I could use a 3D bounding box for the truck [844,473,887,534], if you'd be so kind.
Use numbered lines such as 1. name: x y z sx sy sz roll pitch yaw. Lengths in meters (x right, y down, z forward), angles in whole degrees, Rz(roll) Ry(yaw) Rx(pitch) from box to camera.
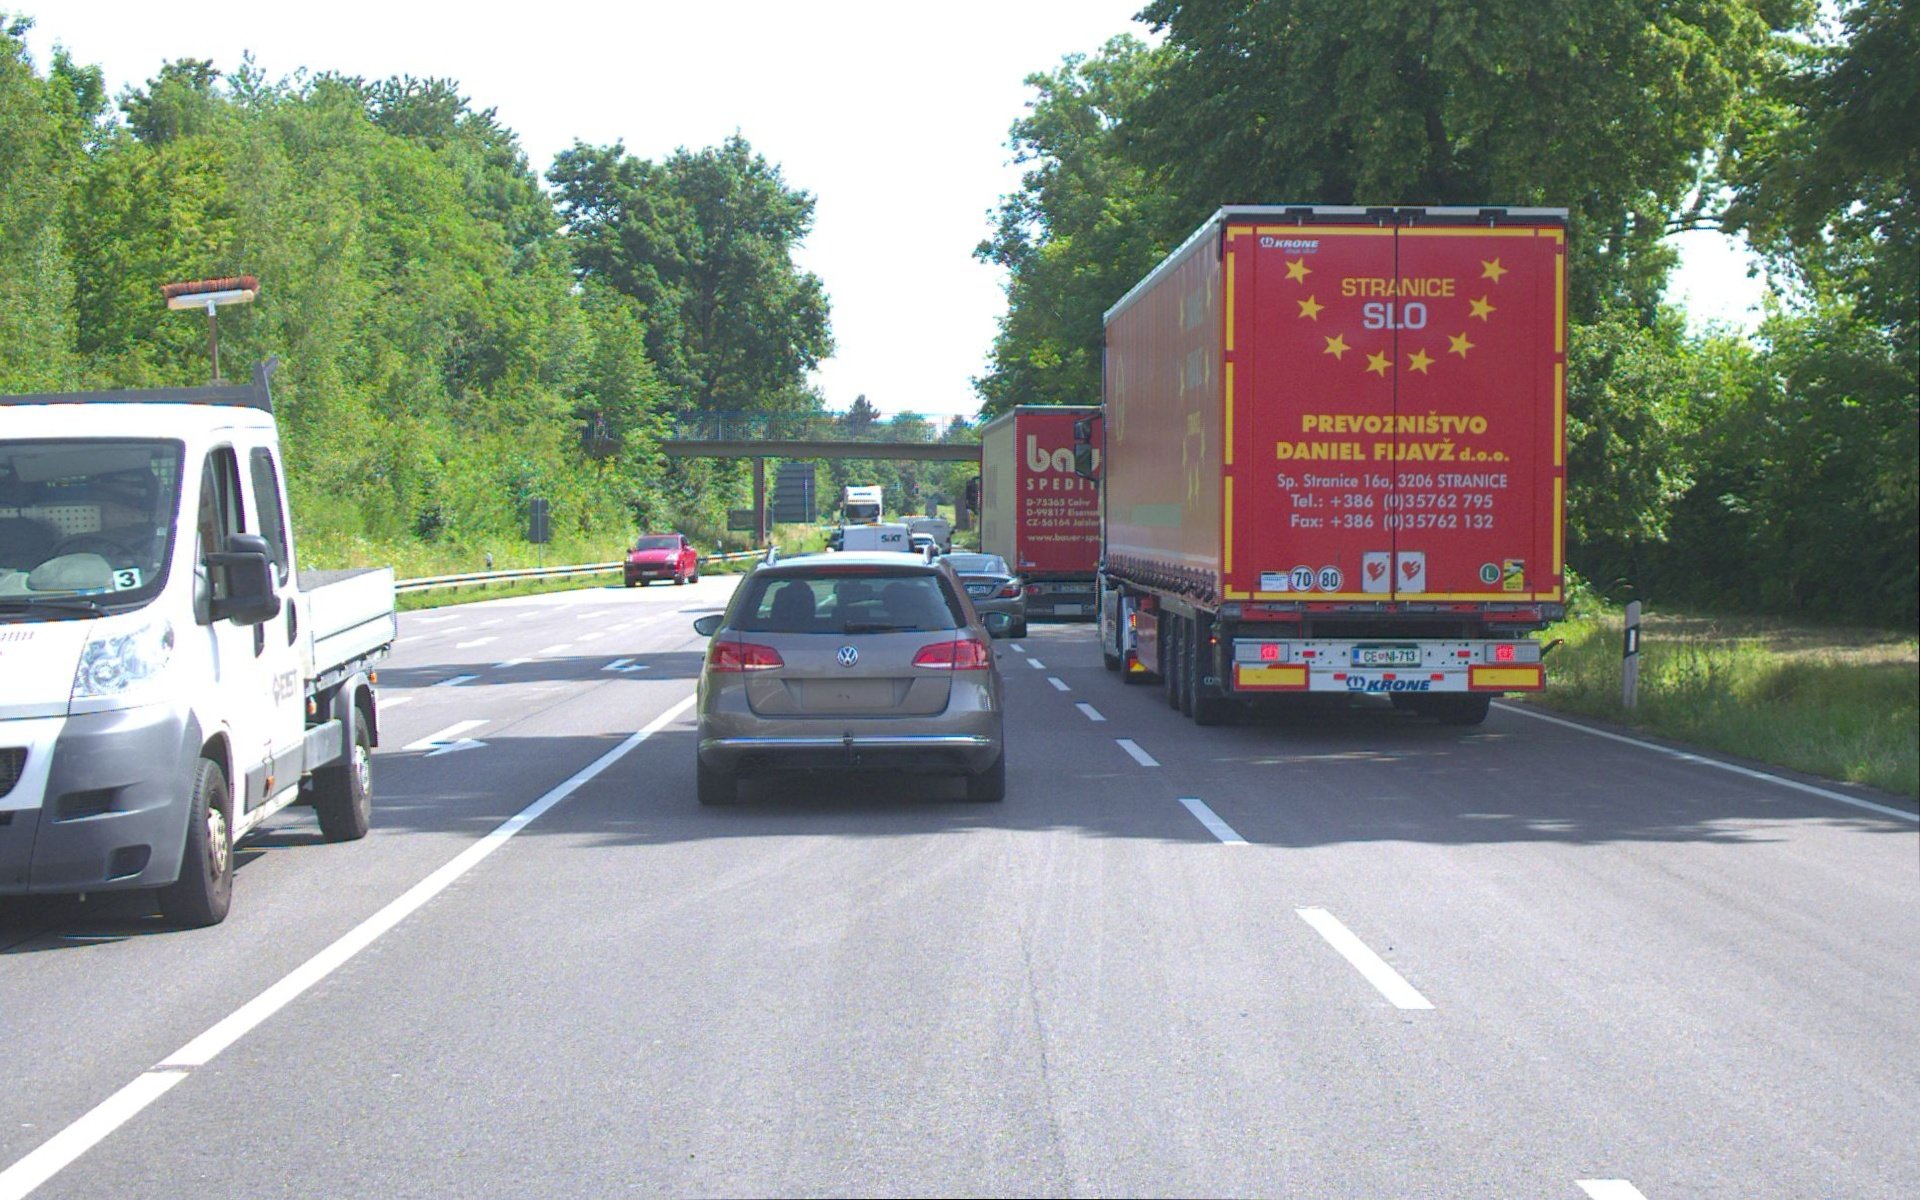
1. truck: -6.461 -6.496 233.763 2.773 3.917 9.468 -1 1 -2

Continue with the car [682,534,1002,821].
1. car: -0.689 0.400 20.688 1.691 1.508 4.000 -2 1 -1

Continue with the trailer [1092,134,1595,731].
1. trailer: 3.056 -1.300 31.719 2.839 4.350 13.168 0 1 -1

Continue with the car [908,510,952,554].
1. car: -1.462 -3.245 164.869 1.993 2.007 4.000 -2 1 -1

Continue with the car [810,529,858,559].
1. car: -6.196 -2.740 169.318 1.963 1.410 4.000 -1 1 3

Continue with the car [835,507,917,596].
1. car: -1.914 -1.101 78.623 1.770 1.930 3.978 -2 1 -1

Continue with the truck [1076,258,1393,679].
1. truck: 2.898 -1.373 37.931 2.870 4.266 5.839 0 1 -1

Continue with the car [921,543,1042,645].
1. car: 0.305 -0.112 54.885 1.770 1.508 4.000 -2 1 -1

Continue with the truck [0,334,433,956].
1. truck: -4.043 0.152 15.835 2.227 2.260 6.500 -2 1 -1

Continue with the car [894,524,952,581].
1. car: -1.373 -1.747 126.076 1.993 2.007 4.000 -2 1 -1

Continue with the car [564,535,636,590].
1. car: -12.389 -1.282 118.563 1.973 1.790 4.809 -2 1 -1

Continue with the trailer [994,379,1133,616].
1. trailer: 1.964 -1.939 68.886 2.395 4.229 13.078 -2 1 1

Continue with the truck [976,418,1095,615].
1. truck: 1.641 -1.811 75.977 2.406 4.113 5.521 -2 1 1
